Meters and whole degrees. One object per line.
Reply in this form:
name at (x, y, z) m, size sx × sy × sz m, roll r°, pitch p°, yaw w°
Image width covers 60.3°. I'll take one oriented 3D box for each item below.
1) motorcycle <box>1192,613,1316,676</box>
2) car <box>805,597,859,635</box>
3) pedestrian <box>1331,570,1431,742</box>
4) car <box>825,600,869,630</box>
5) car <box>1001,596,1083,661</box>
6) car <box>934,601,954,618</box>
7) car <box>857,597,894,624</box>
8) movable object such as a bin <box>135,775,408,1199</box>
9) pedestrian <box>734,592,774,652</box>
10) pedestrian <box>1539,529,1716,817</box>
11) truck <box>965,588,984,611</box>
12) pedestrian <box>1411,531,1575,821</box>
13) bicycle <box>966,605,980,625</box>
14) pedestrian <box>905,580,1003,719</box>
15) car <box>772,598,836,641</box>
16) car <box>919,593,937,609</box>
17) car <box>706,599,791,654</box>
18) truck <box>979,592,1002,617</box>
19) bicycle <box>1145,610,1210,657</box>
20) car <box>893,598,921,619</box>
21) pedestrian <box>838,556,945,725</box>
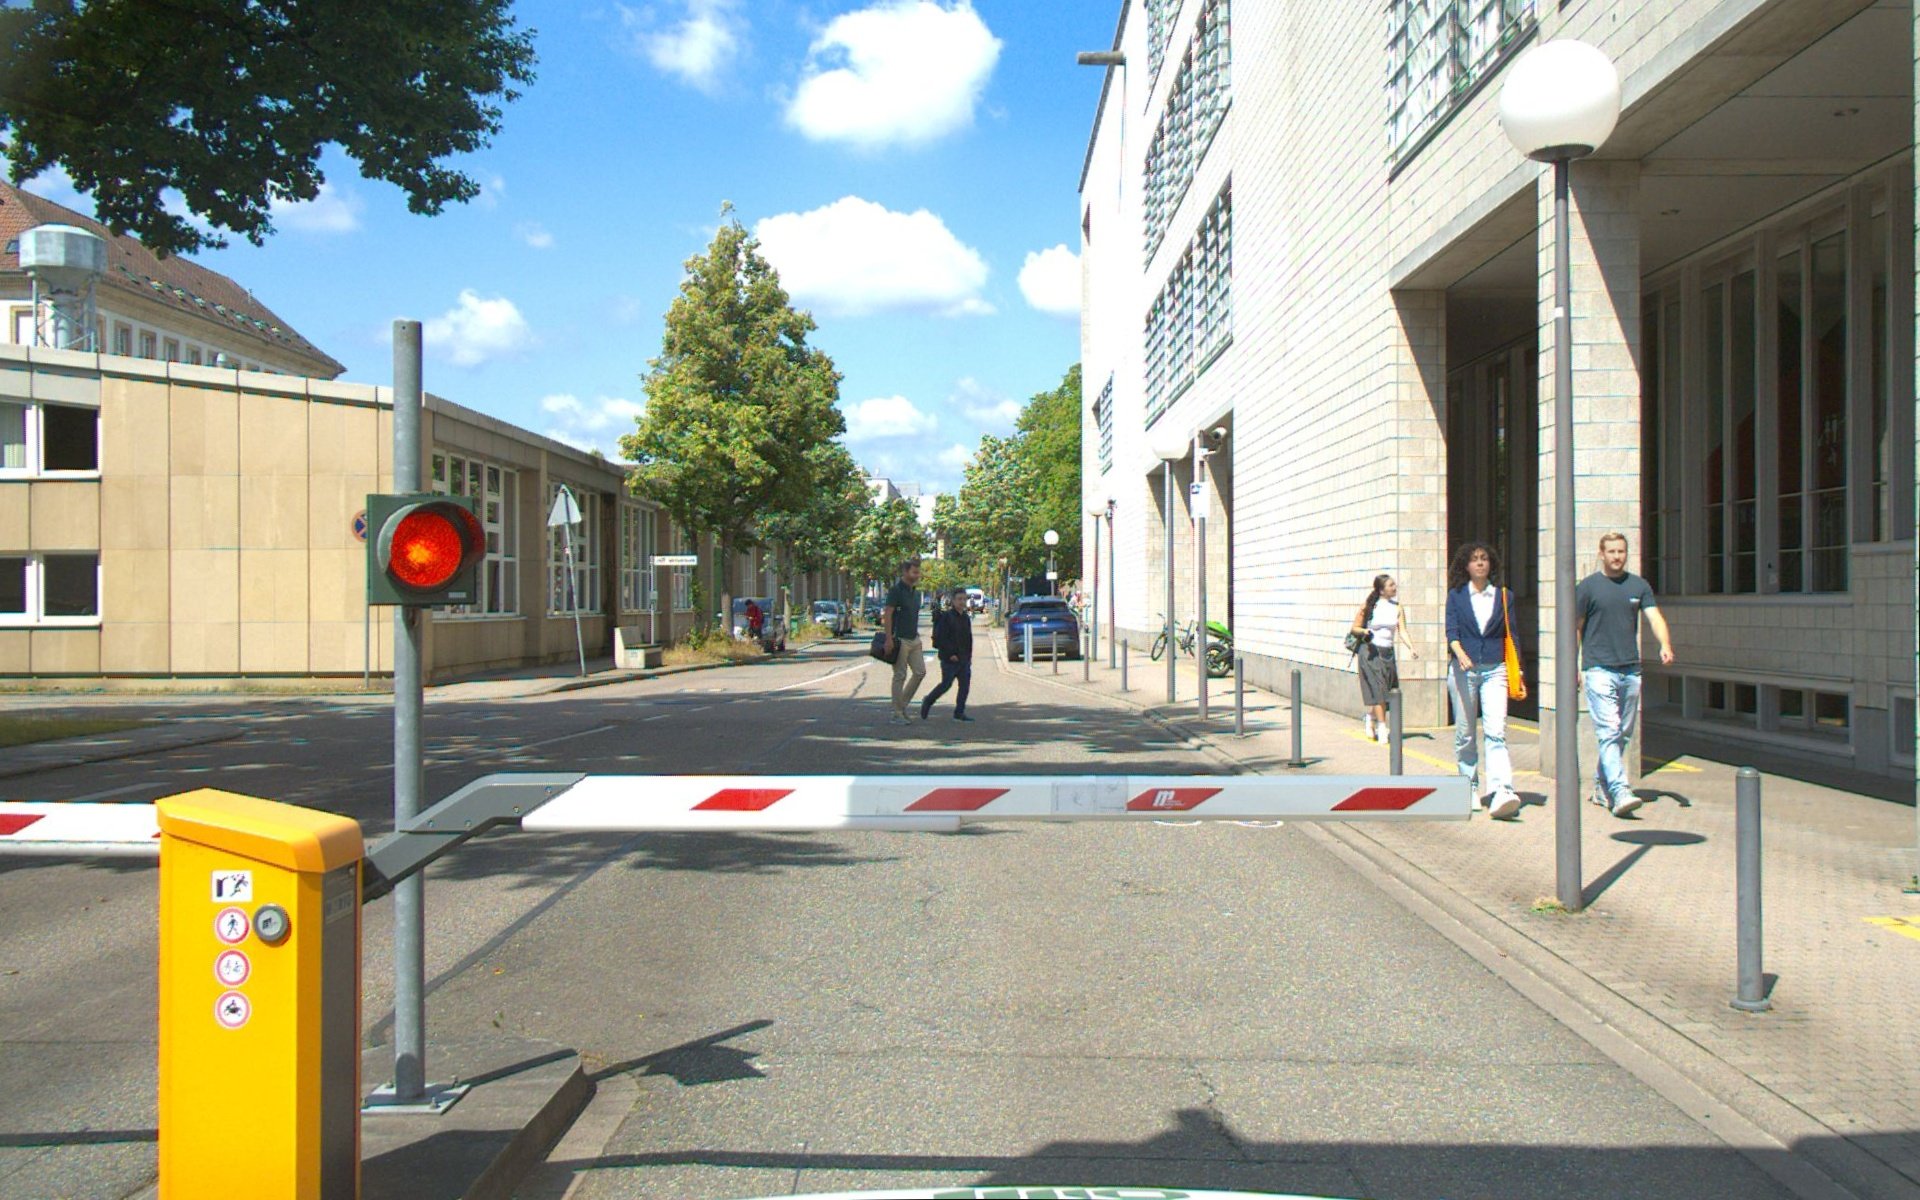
motorcycle at (5.269, 0.794, 29.743) m, size 2.079 × 1.040 × 0.660 m, roll -2°, pitch -2°, yaw 2°
car at (-5.526, 0.668, 71.733) m, size 1.952 × 1.573 × 4.212 m, roll 0°, pitch 0°, yaw 1°
pedestrian at (4.237, 0.548, 16.685) m, size 0.726 × 1.661 × 0.887 m, roll -2°, pitch 0°, yaw -1°
car at (-5.965, 0.776, 87.480) m, size 1.952 × 1.573 × 4.212 m, roll 0°, pitch 0°, yaw 1°
car at (2.054, 0.695, 42.375) m, size 1.952 × 1.573 × 4.212 m, roll 0°, pitch 0°, yaw 1°
car at (-1.740, 1.018, 181.409) m, size 1.952 × 1.751 × 4.001 m, roll -1°, pitch -2°, yaw 3°
car at (-5.071, 0.616, 99.871) m, size 1.952 × 1.573 × 4.212 m, roll 0°, pitch 0°, yaw 1°
movable object such as a bin at (-1.427, 0.849, 3.461) m, size 0.407 × 0.921 × 0.353 m, roll 0°, pitch 0°, yaw 5°
pedestrian at (-5.831, 0.623, 46.804) m, size 0.875 × 1.661 × 0.888 m, roll 1°, pitch -1°, yaw -30°
pedestrian at (4.421, 0.459, 11.018) m, size 0.751 × 1.811 × 0.910 m, roll -2°, pitch 0°, yaw -1°
truck at (1.550, -0.057, 177.728) m, size 1.953 × 2.311 × 4.614 m, roll 0°, pitch -2°, yaw -1°
pedestrian at (3.521, 0.475, 11.011) m, size 0.680 × 1.811 × 1.085 m, roll -2°, pitch 0°, yaw -1°
bicycle at (0.911, 1.028, 114.747) m, size 0.967 × 1.339 × 2.963 m, roll -1°, pitch -2°, yaw 0°
pedestrian at (-0.077, 0.598, 20.414) m, size 0.884 × 1.661 × 0.878 m, roll 1°, pitch -1°, yaw -31°
car at (-5.888, 0.730, 62.944) m, size 1.952 × 1.573 × 4.212 m, roll 0°, pitch 0°, yaw 1°
car at (-3.989, 0.124, 204.532) m, size 1.952 × 1.751 × 4.001 m, roll -1°, pitch -2°, yaw 3°
car at (-6.305, 0.756, 49.785) m, size 1.952 × 1.573 × 4.212 m, roll 0°, pitch 0°, yaw 1°
truck at (2.709, 0.401, 147.401) m, size 1.953 × 2.049 × 3.999 m, roll -1°, pitch -2°, yaw -1°
bicycle at (5.183, 0.805, 39.396) m, size 1.511 × 1.085 × 0.648 m, roll -1°, pitch 0°, yaw 8°
car at (-4.024, 0.628, 126.472) m, size 1.952 × 1.573 × 4.212 m, roll 0°, pitch 0°, yaw 1°
pedestrian at (-0.823, 0.477, 19.798) m, size 0.992 × 1.959 × 0.878 m, roll 1°, pitch -1°, yaw -31°
